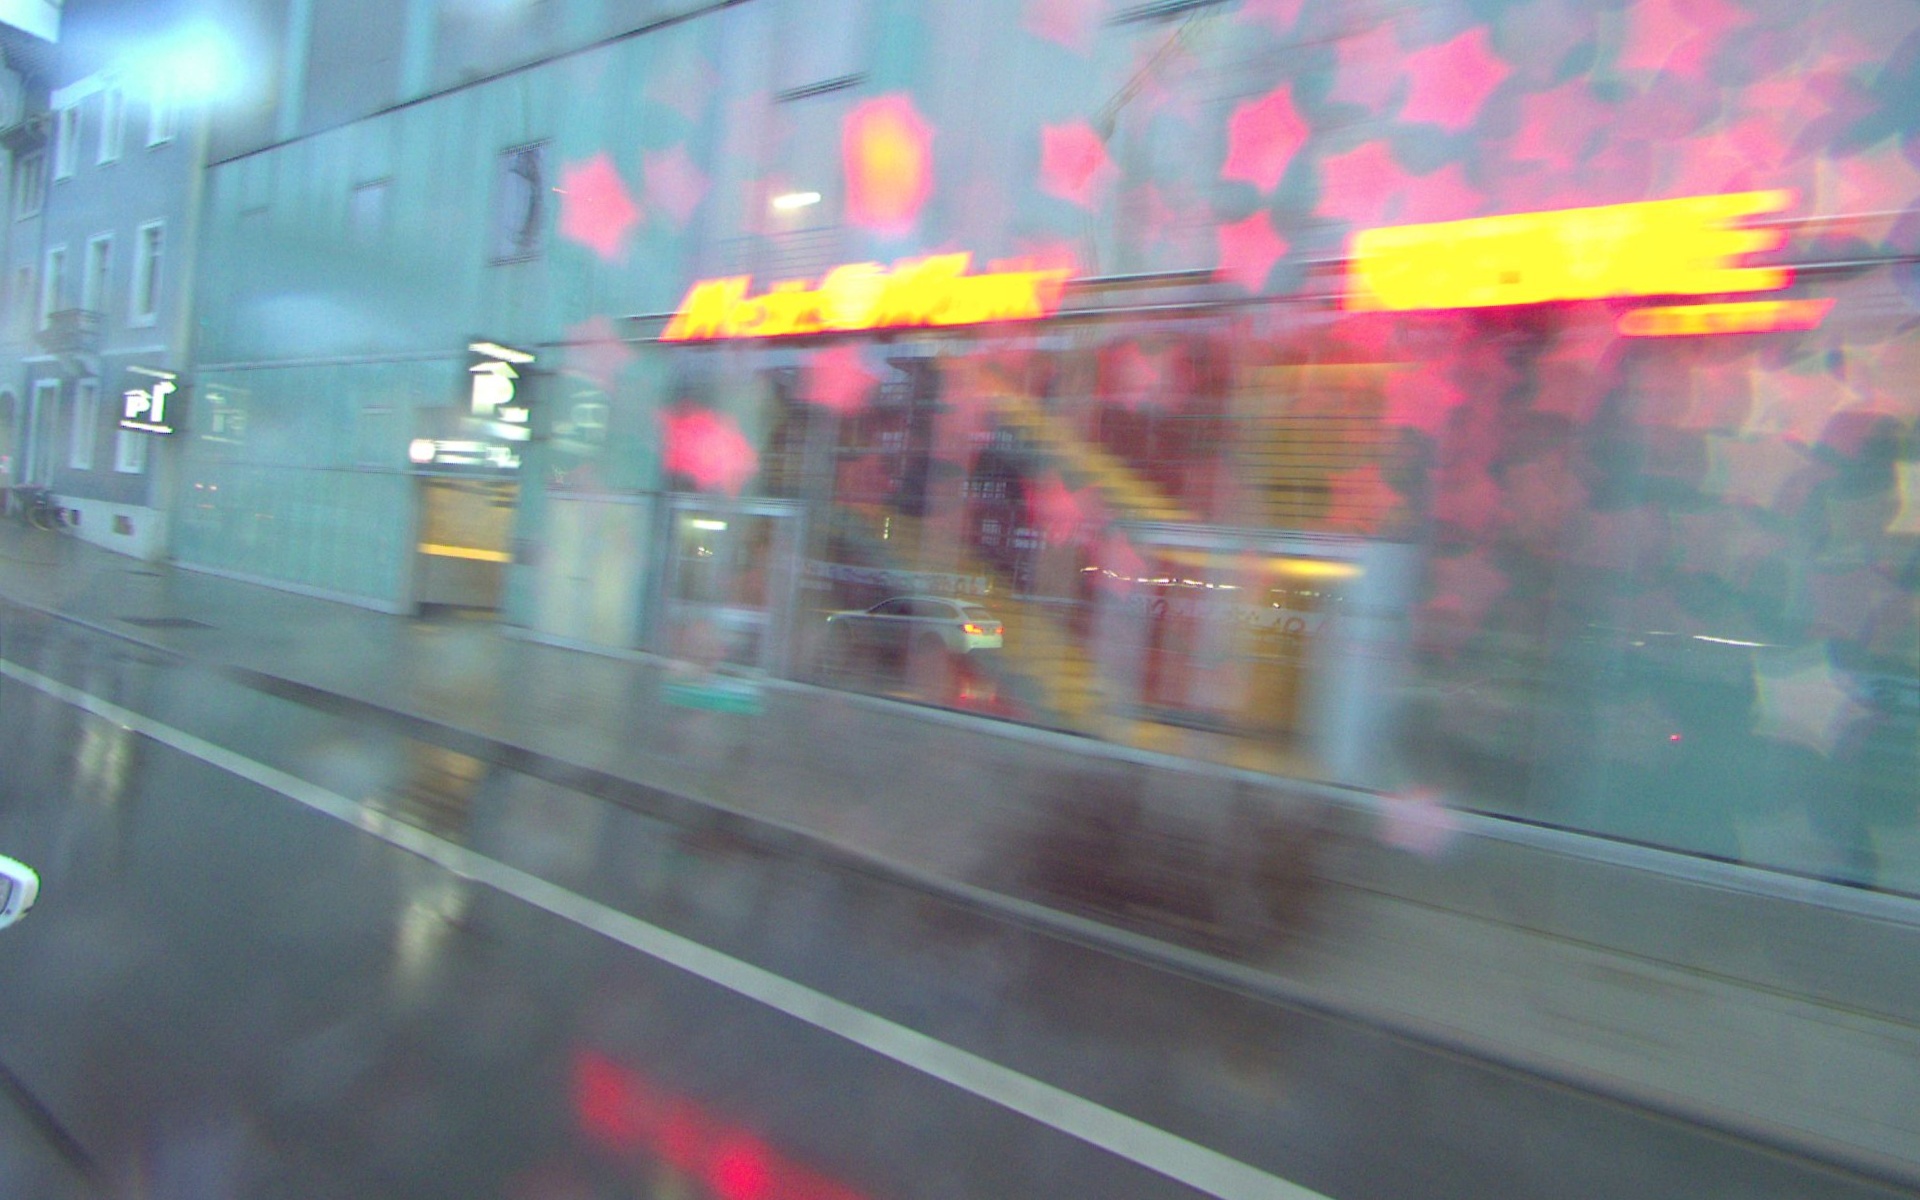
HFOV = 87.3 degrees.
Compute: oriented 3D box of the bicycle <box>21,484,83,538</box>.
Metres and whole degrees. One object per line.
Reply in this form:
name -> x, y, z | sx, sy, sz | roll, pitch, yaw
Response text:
bicycle -> -23.451, -2.301, 25.969 | 1.874, 1.239, 0.682 | 7, 3, 32
